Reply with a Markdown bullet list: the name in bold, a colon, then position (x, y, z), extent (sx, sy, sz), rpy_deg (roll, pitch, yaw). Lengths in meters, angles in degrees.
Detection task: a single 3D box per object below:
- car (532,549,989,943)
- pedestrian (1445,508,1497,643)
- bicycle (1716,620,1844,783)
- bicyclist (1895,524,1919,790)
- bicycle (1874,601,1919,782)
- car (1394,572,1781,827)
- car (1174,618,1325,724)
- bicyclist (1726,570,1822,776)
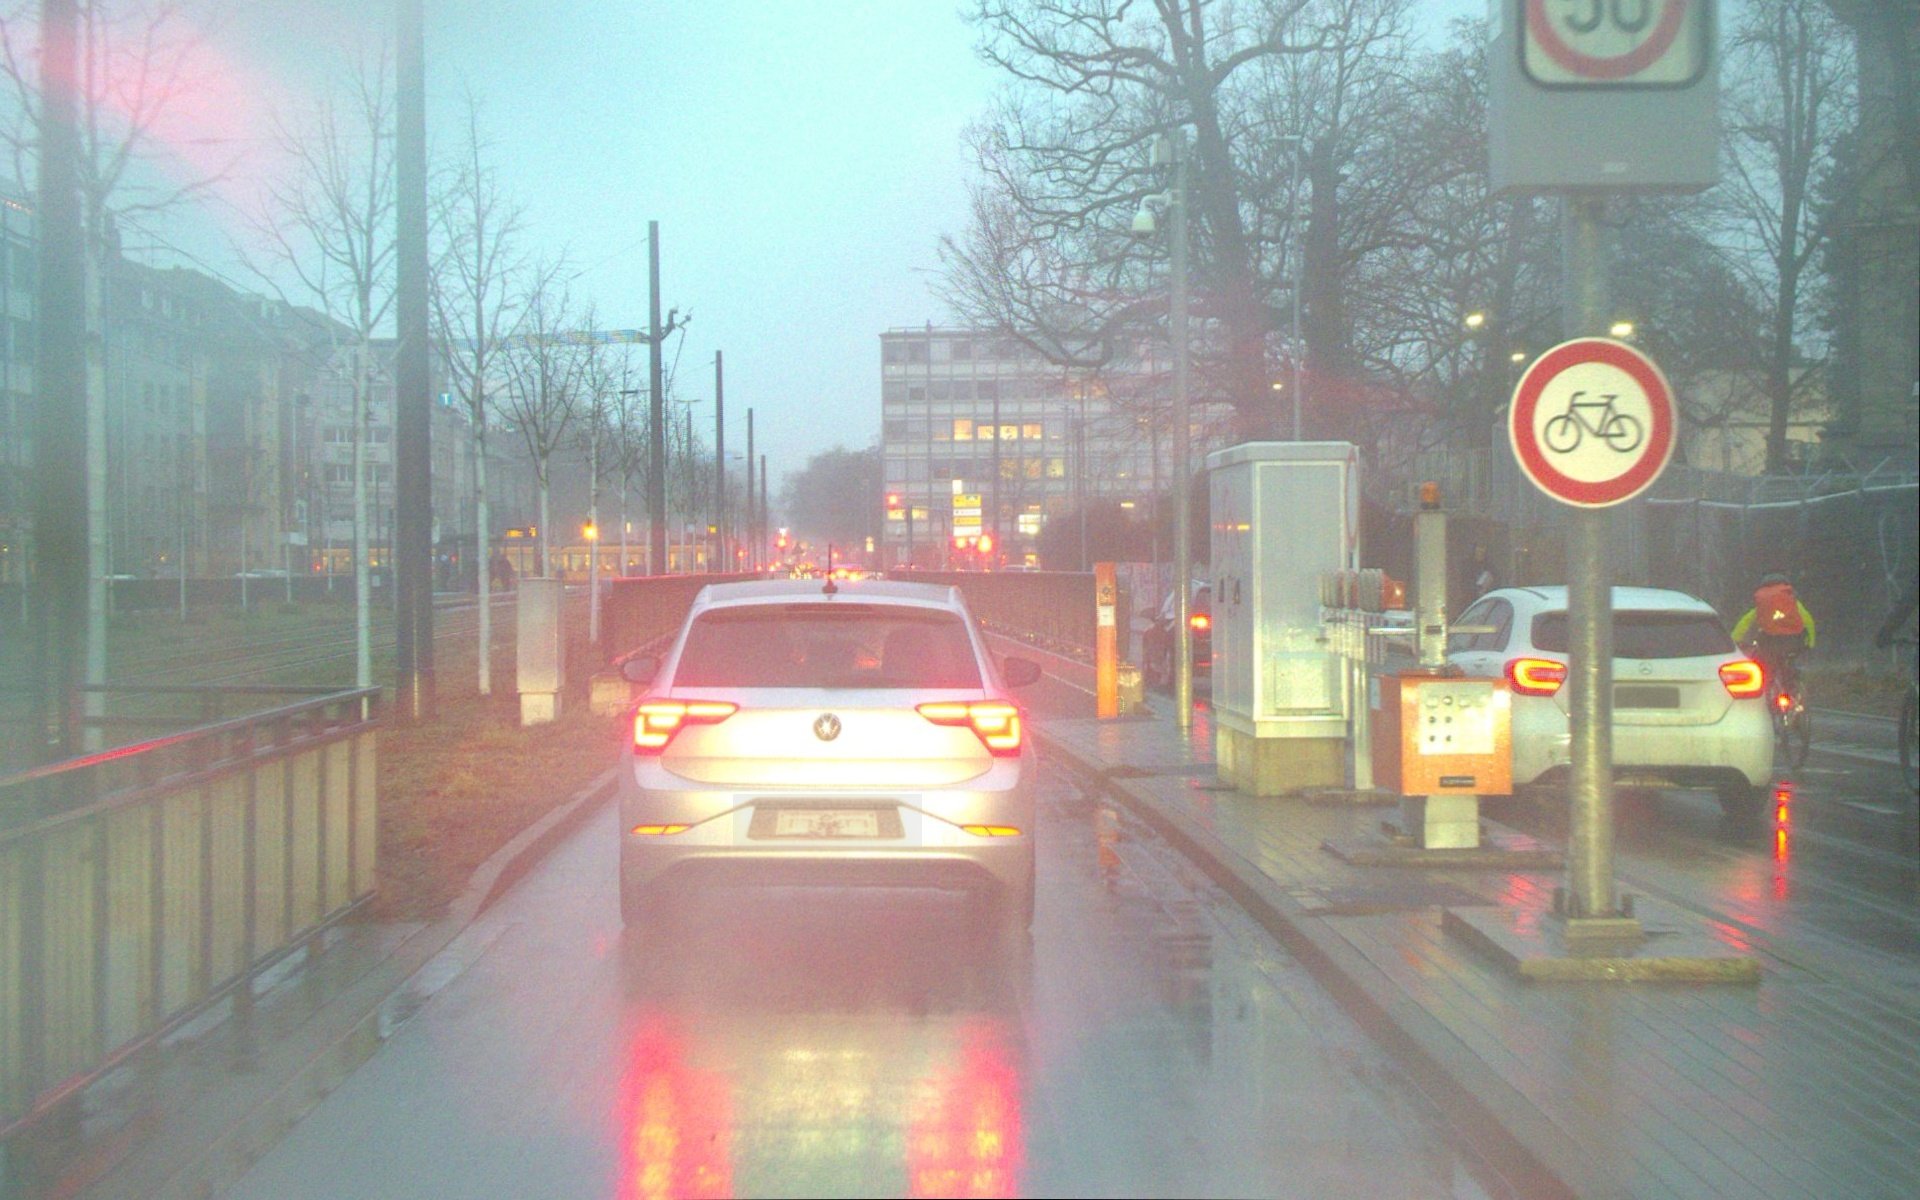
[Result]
- **car**: position (-0.790, 0.570, 15.232), extent (1.722, 1.474, 4.000), rpy_deg (1, 0, -1)
- **pedestrian**: position (7.196, -0.346, 48.409), extent (0.531, 1.873, 0.901), rpy_deg (-1, 1, -4)
- **bicycle**: position (6.402, 0.774, 26.915), extent (0.411, 1.181, 1.948), rpy_deg (-1, 1, -4)
- **bicyclist**: position (6.586, 0.372, 22.779), extent (0.500, 1.761, 0.837), rpy_deg (-1, 1, -4)
- **bicycle**: position (6.573, 0.616, 22.699), extent (0.411, 1.181, 2.029), rpy_deg (-1, 1, -4)
- **car**: position (3.994, 0.591, 22.491), extent (1.722, 1.474, 4.000), rpy_deg (1, 0, -1)
- **car**: position (3.844, 0.926, 46.213), extent (1.623, 1.295, 4.000), rpy_deg (1, 0, -1)
- **bicyclist**: position (6.392, 0.562, 27.008), extent (0.500, 1.586, 0.837), rpy_deg (-1, 1, -4)
